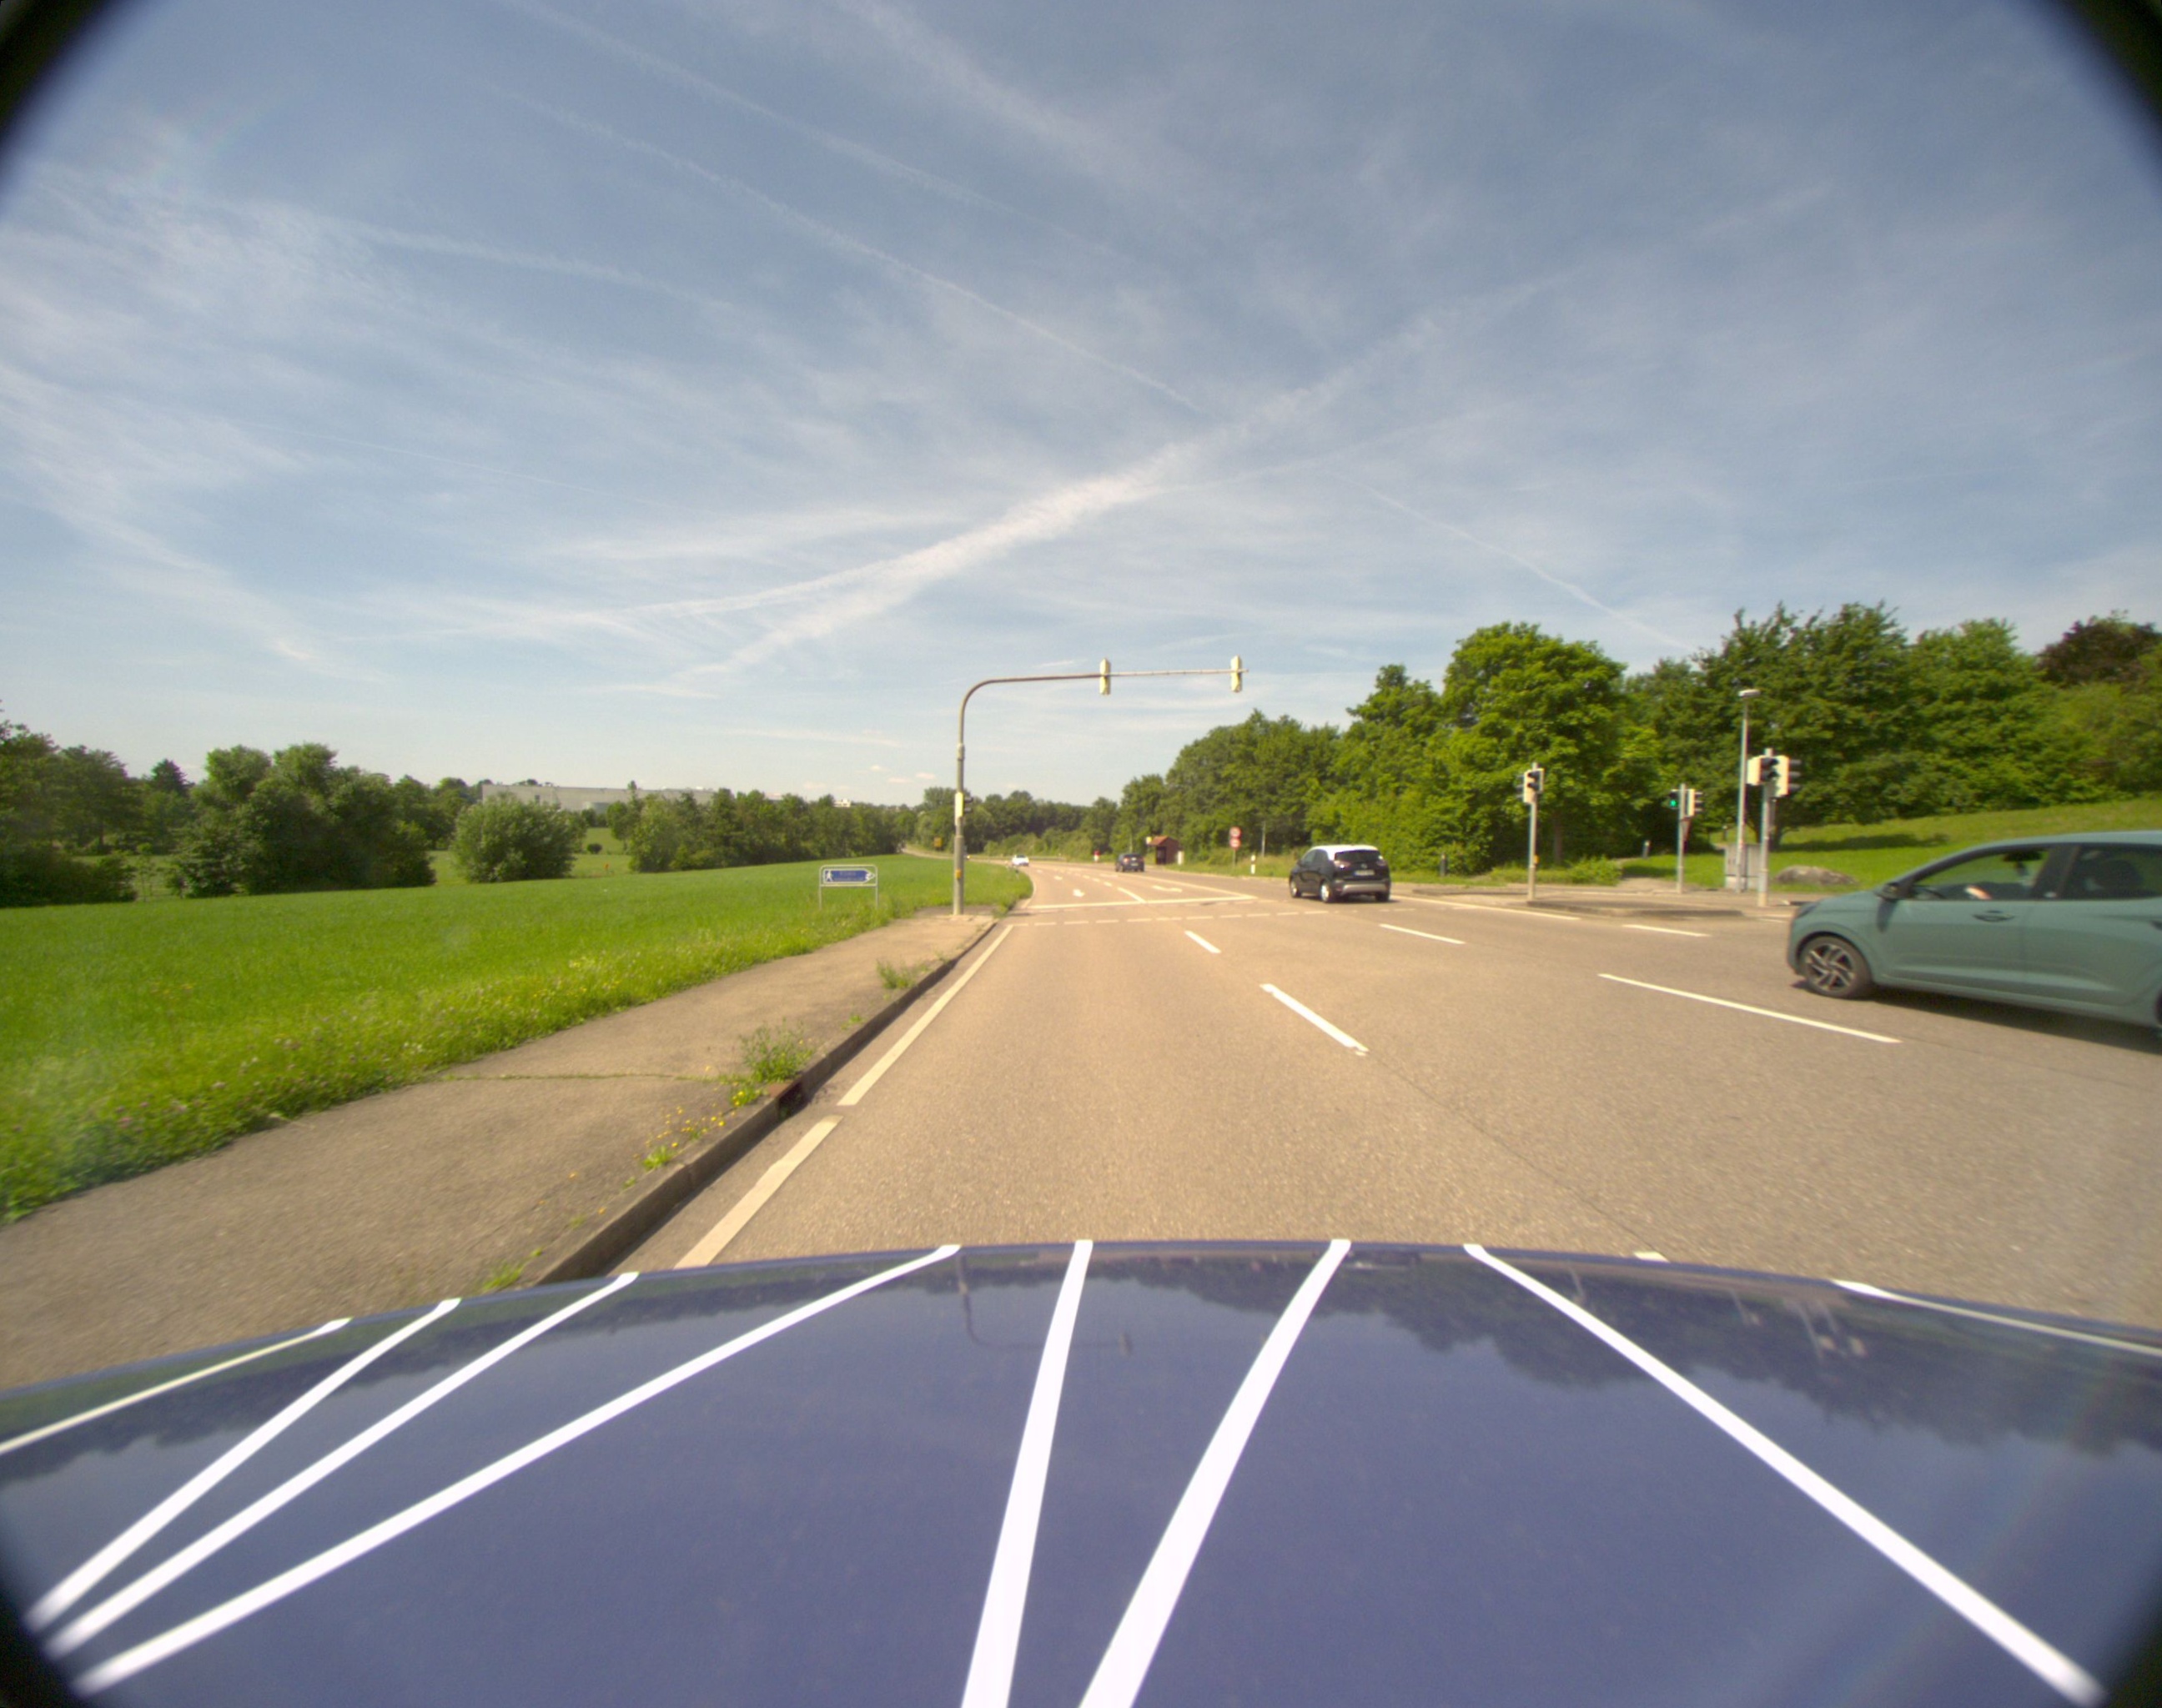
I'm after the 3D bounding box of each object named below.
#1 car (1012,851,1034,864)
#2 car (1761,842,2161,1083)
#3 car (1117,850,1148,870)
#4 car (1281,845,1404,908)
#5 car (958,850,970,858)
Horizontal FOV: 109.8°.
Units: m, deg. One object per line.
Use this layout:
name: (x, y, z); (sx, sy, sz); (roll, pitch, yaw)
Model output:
car: (-7.443, 0.416, 97.302); (2.001, 1.576, 3.994); (-2, 1, -14)
car: (7.664, 0.672, 5.698); (1.711, 1.474, 3.832); (-2, 1, 0)
car: (3.984, 0.439, 59.328); (1.796, 1.466, 4.308); (-2, 1, -4)
car: (7.292, 0.551, 21.685); (1.979, 1.553, 4.188); (-2, 1, -1)
car: (-24.797, 0.011, 160.692); (2.001, 1.576, 3.995); (-2, 1, -14)
